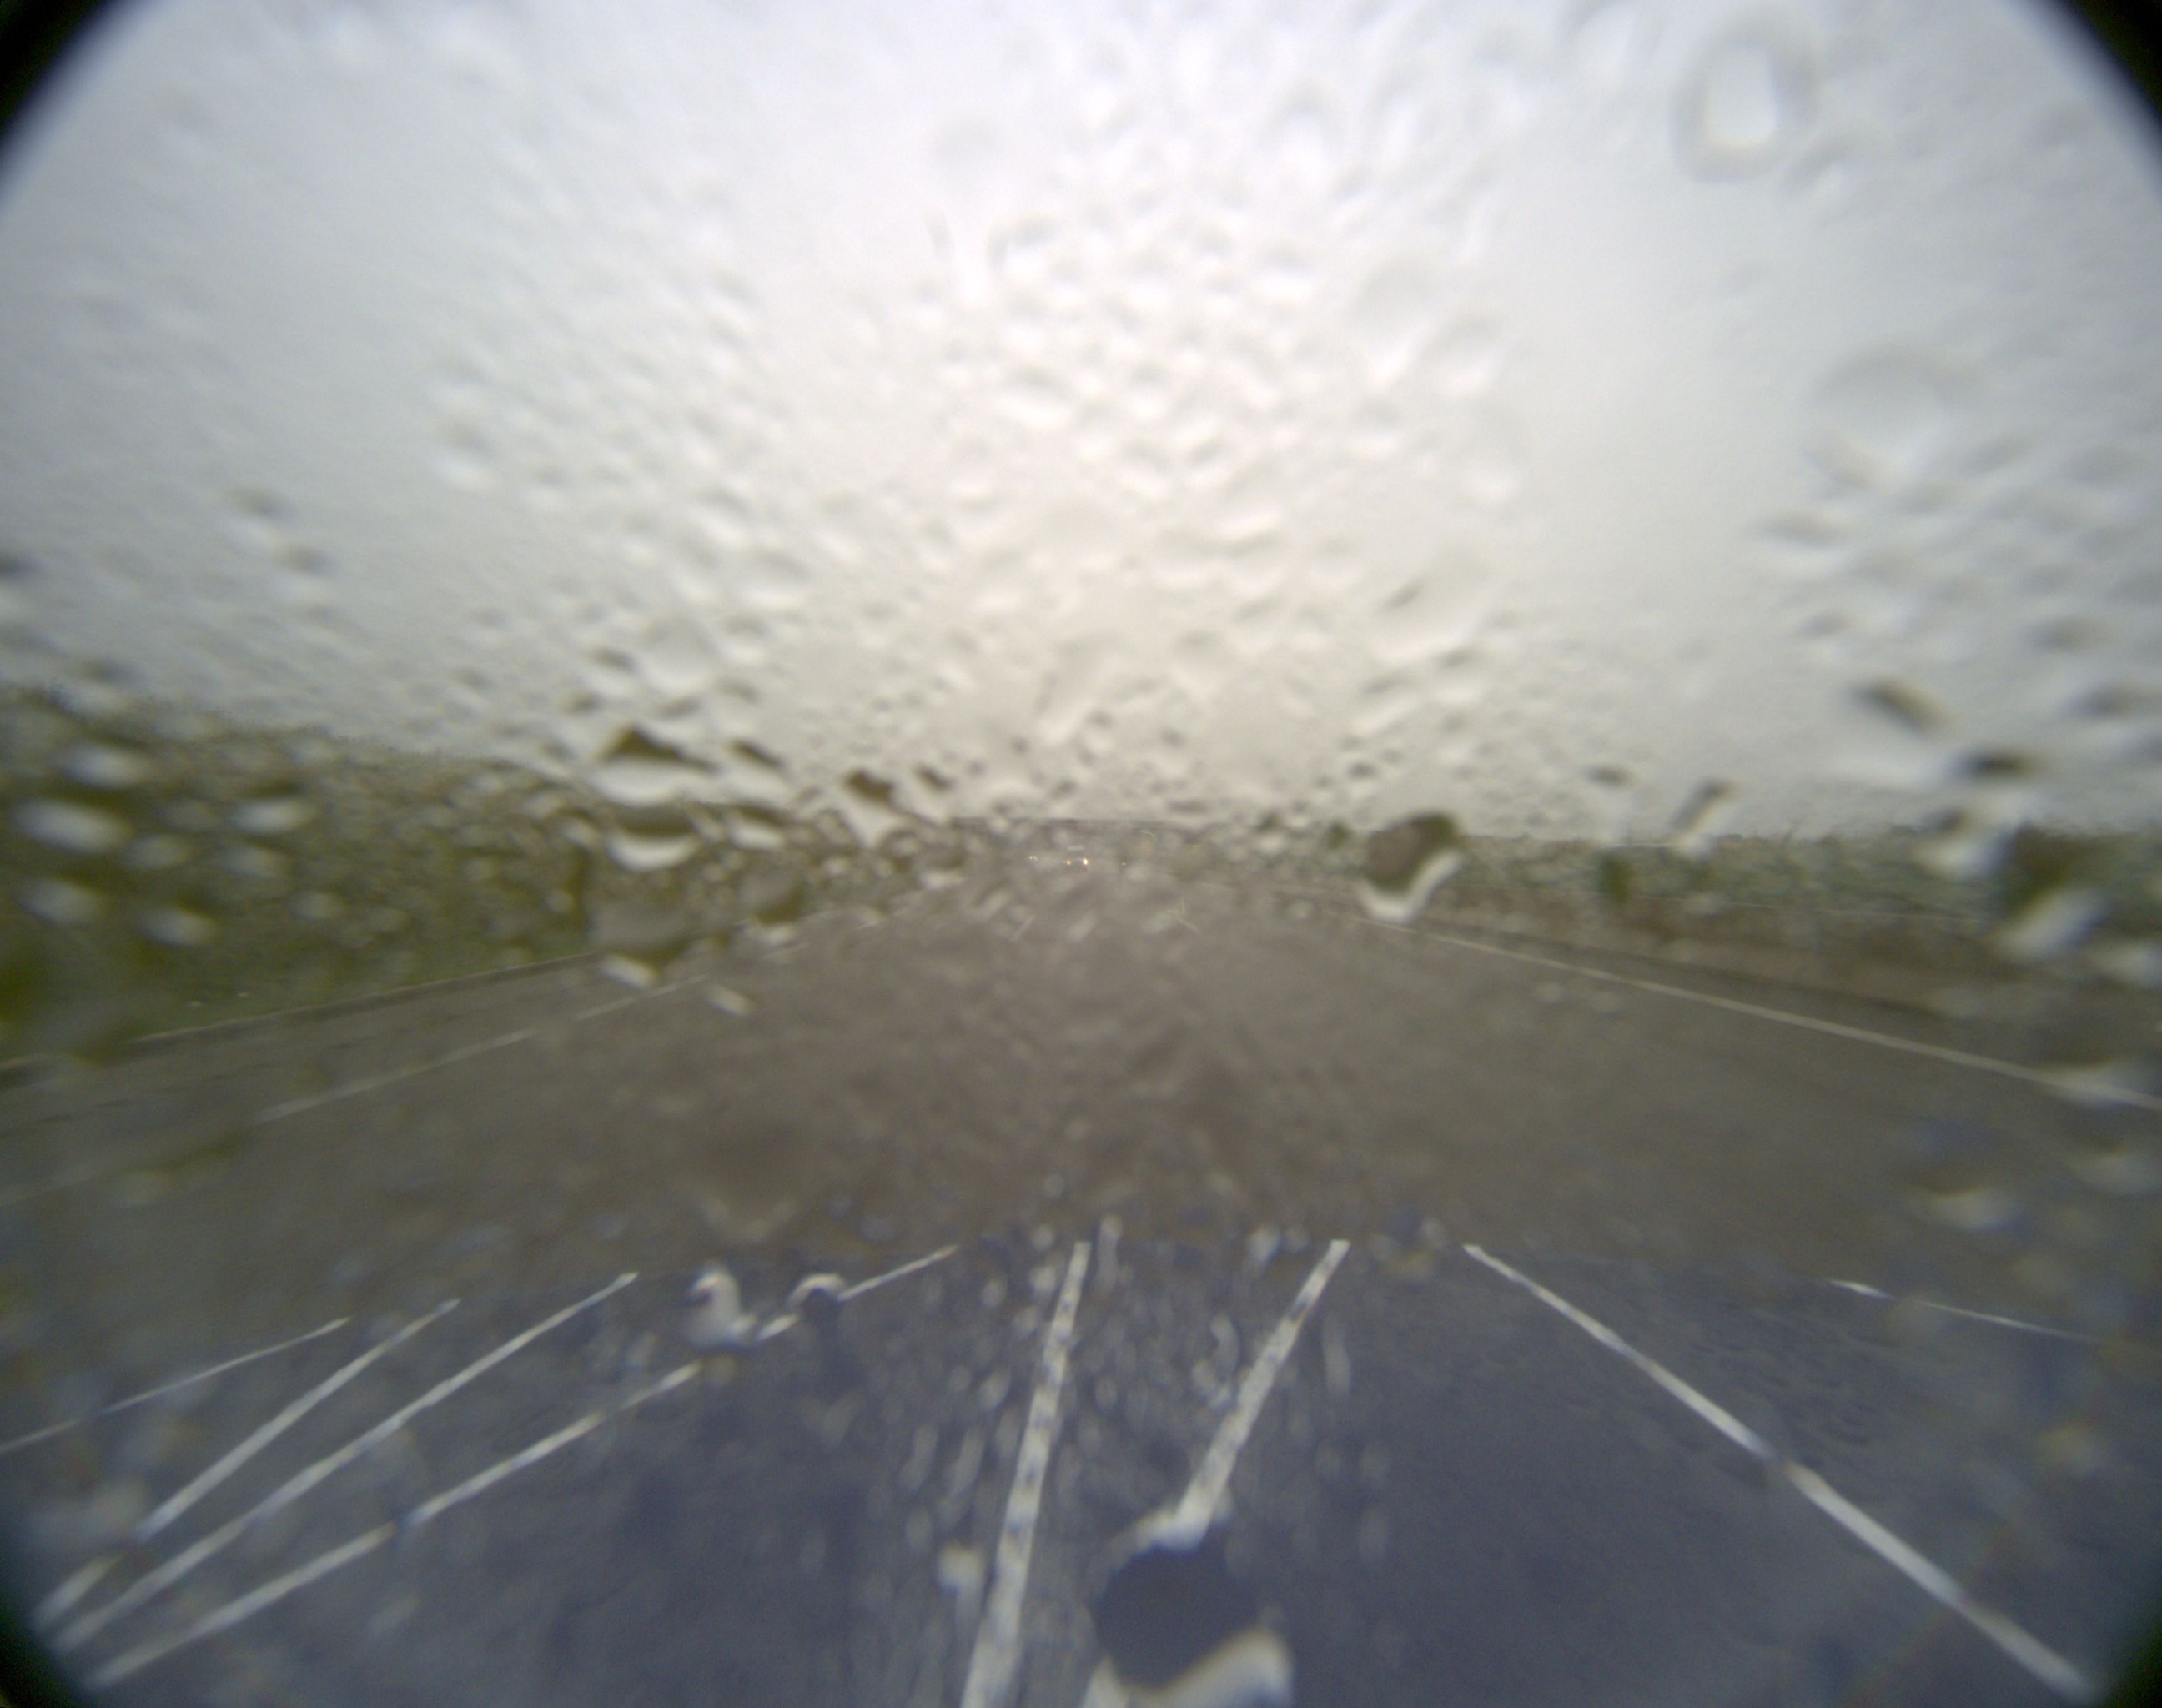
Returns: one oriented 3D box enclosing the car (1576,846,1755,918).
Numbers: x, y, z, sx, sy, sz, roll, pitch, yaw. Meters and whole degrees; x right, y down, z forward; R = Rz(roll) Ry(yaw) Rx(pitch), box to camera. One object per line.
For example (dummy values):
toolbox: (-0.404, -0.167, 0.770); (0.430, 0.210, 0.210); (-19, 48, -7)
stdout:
car: (15.593, 0.674, 20.559); (1.758, 1.718, 4.000); (-2, 0, 0)

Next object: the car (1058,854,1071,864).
car: (-2.771, 0.862, 126.704); (1.999, 1.521, 3.998); (-2, 0, -4)

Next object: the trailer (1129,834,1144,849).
trailer: (14.220, -3.176, 194.875); (2.771, 3.600, 11.144); (-2, 2, -1)

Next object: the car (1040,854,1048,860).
car: (-9.684, 0.805, 199.033); (1.999, 1.543, 3.999); (-2, 0, -1)

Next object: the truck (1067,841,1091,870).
truck: (-0.263, 0.037, 77.790); (1.999, 2.699, 7.996); (-2, 2, -2)

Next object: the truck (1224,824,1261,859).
truck: (19.331, -1.470, 91.193); (2.960, 3.970, 6.216); (-2, 0, 0)

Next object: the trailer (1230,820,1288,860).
trailer: (19.323, -1.433, 83.715); (2.952, 3.959, 14.304); (-2, 0, 0)

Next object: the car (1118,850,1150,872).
car: (4.173, 0.549, 60.023); (1.999, 1.608, 3.998); (-2, 0, -3)
